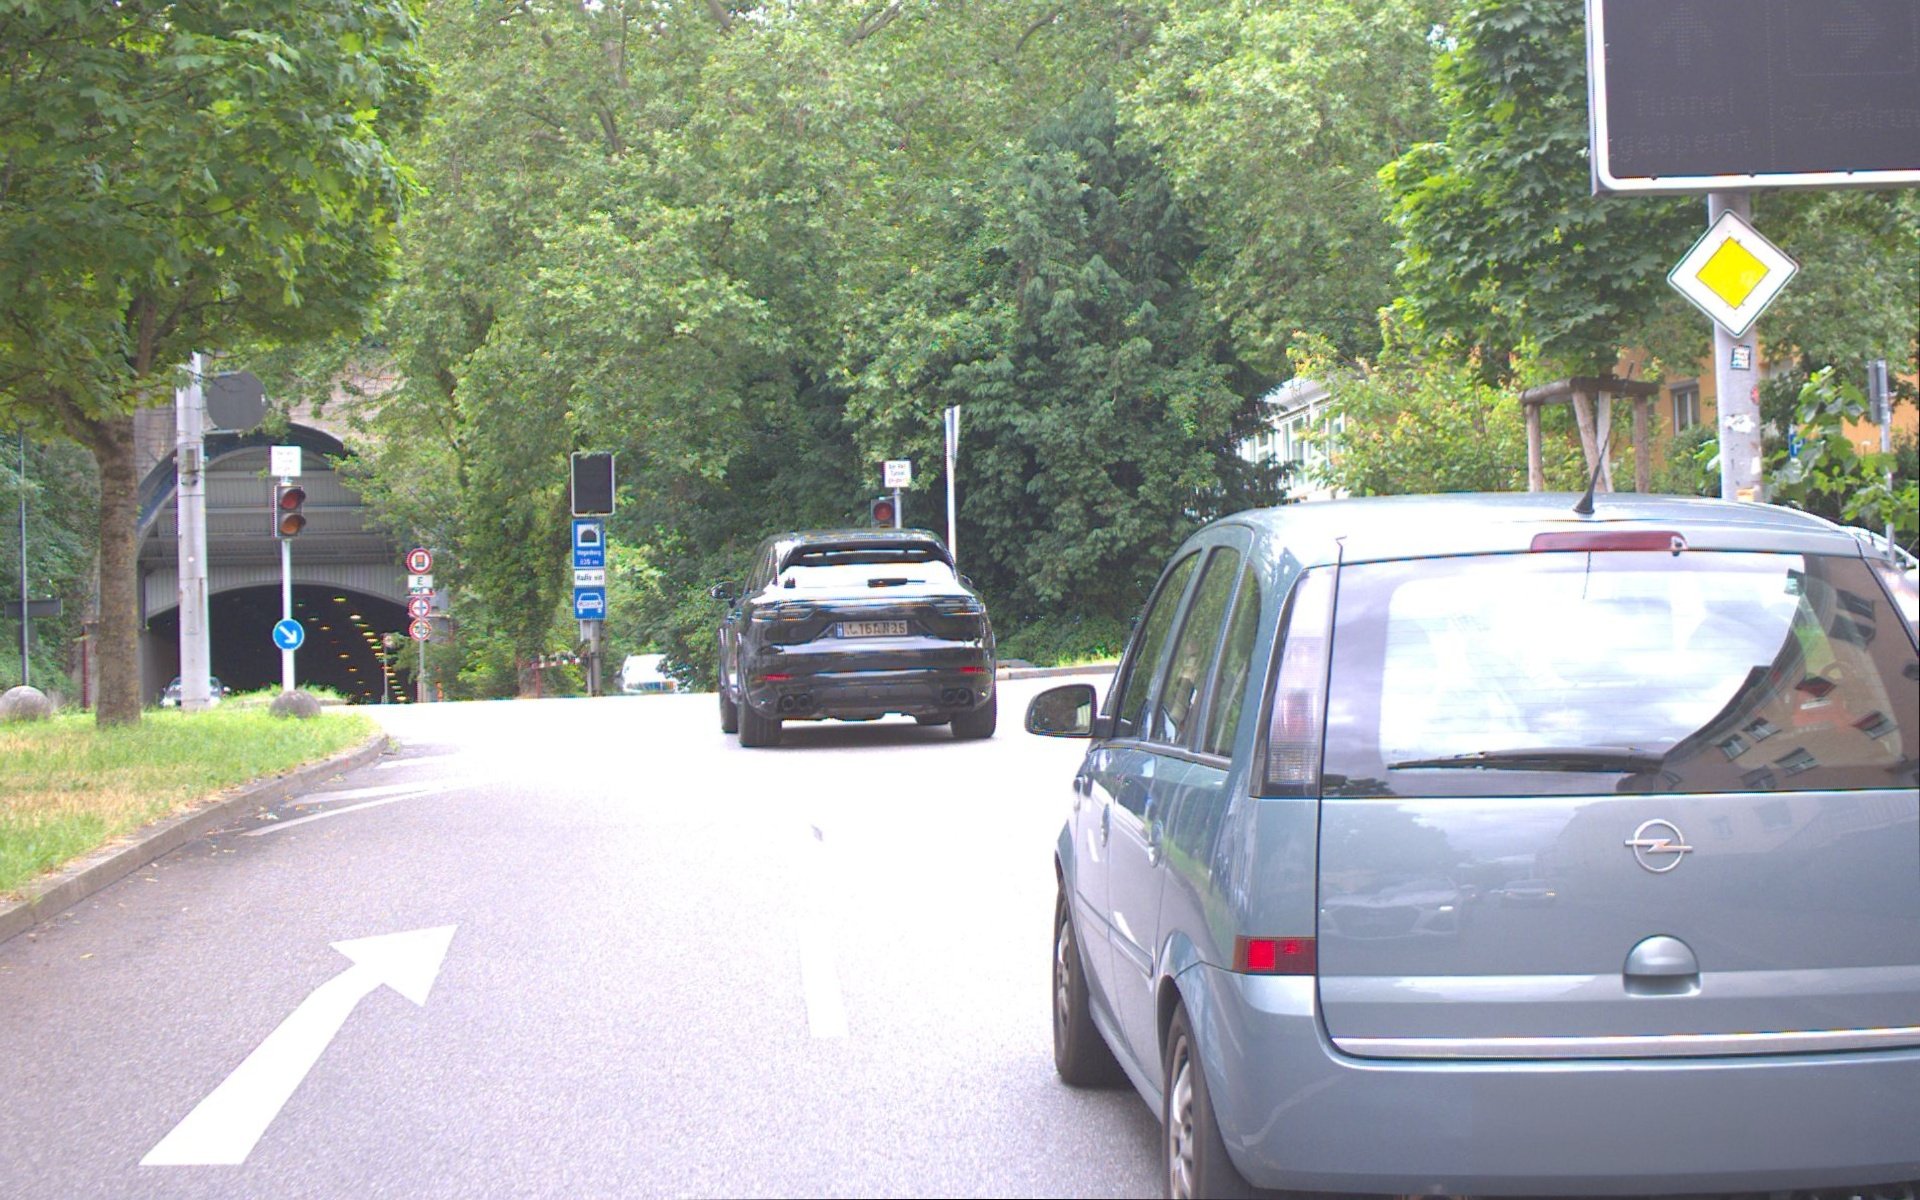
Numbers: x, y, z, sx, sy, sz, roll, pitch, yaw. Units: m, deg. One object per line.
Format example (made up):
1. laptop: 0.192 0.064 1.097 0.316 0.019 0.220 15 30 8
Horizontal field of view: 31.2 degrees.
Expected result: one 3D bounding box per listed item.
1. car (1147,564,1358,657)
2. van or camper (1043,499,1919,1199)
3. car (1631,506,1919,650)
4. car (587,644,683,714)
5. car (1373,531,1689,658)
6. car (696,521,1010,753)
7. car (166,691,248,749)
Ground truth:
1. car: 5.707 0.231 67.706 1.993 1.573 4.905 -2 -2 -23
2. van or camper: 1.189 0.580 7.984 1.735 1.572 3.646 0 1 -3
3. car: 9.746 -0.280 38.040 4.116 1.423 1.863 -3 1 -16
4. car: -7.428 1.822 78.197 1.784 1.437 5.063 -2 -2 -9
5. car: 7.086 -0.083 42.404 1.998 1.413 3.991 -2 1 41
6. car: -0.939 0.284 27.593 1.993 1.647 4.001 -2 0 -9
7. car: -23.353 3.733 106.785 1.869 1.693 4.936 -2 -2 -6
